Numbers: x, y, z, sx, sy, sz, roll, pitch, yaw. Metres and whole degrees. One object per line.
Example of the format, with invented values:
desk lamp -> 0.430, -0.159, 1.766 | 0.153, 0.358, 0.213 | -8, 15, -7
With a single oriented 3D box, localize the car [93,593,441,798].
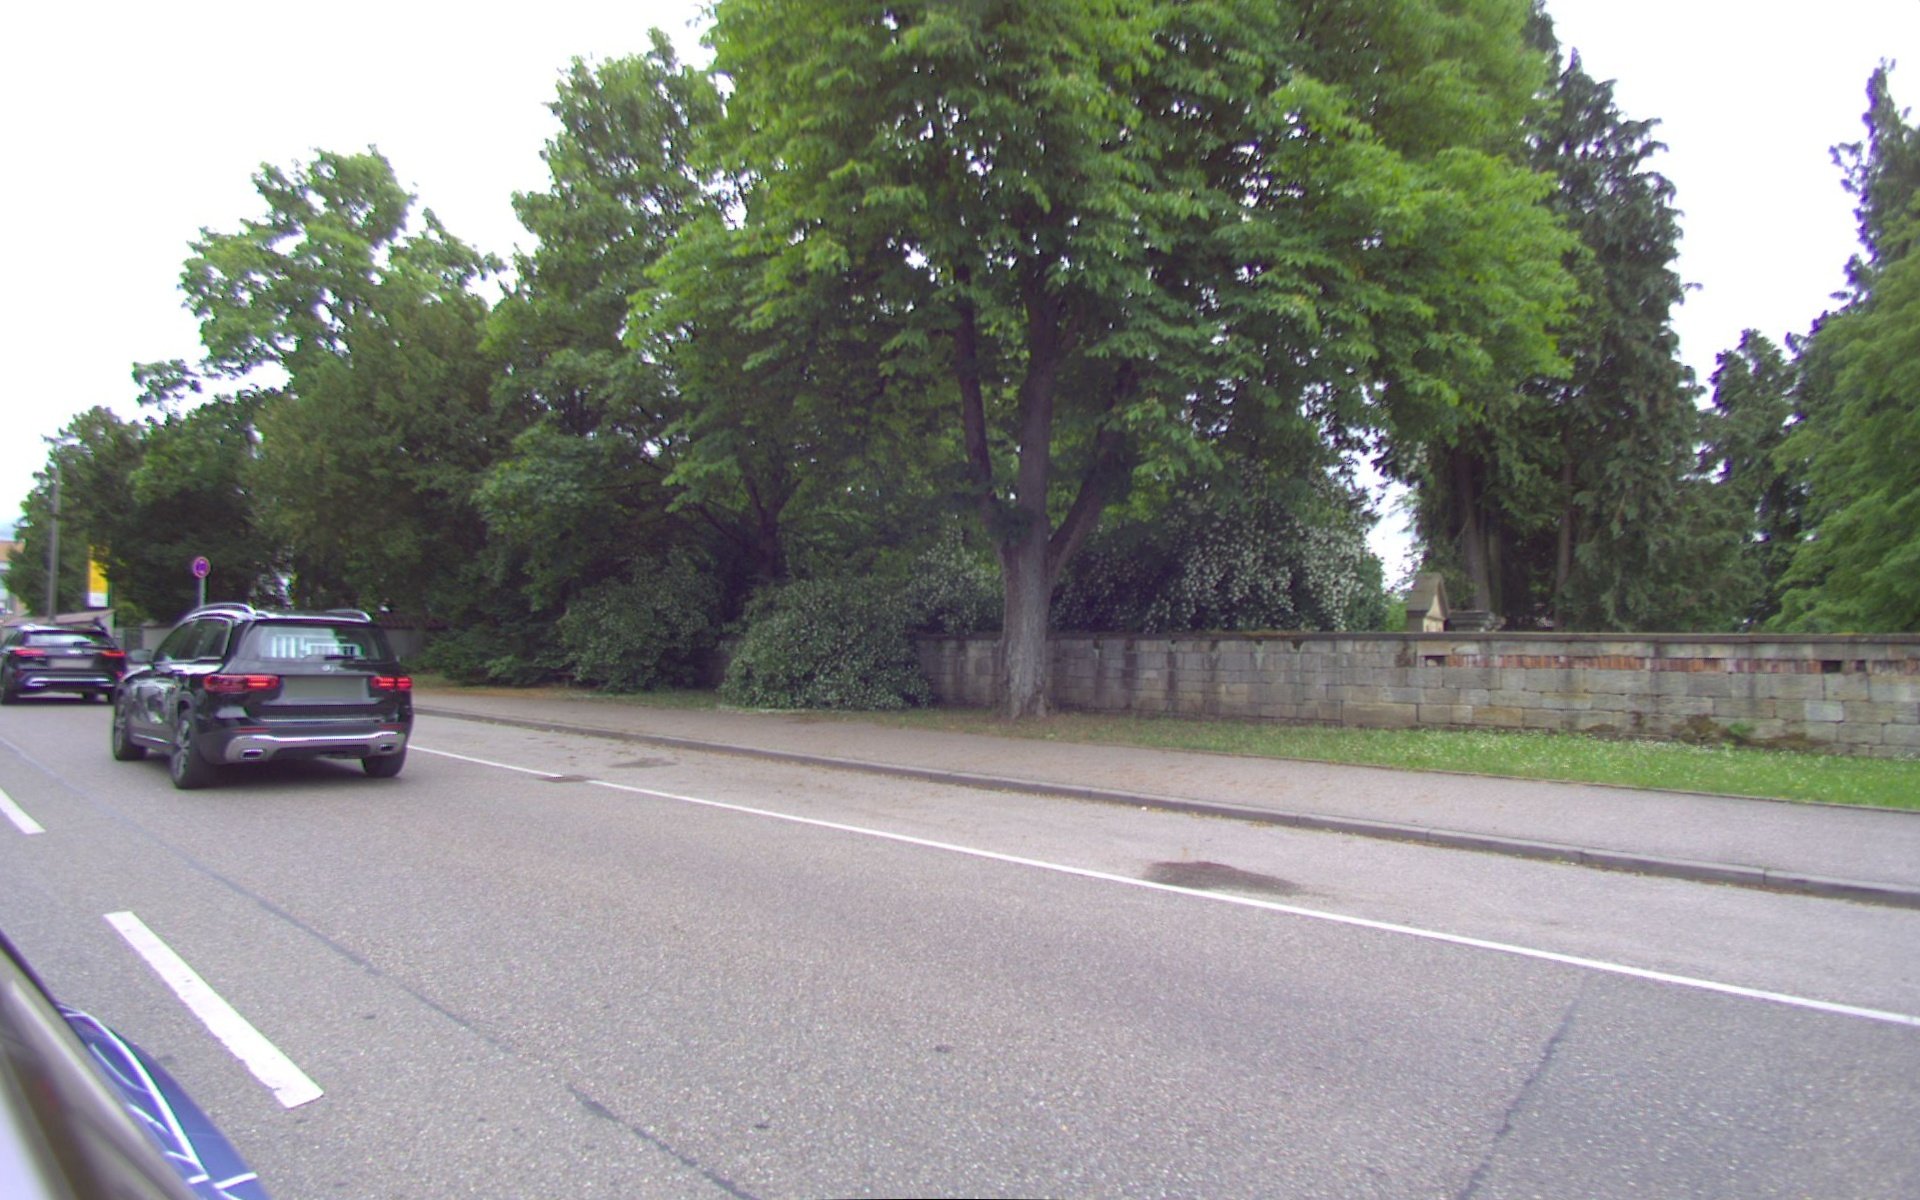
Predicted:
car -> -7.146, 0.861, 10.285 | 4.125, 1.657, 1.860 | -1, -4, 41

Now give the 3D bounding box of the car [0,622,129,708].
car -> -17.632, 1.216, 19.608 | 3.998, 1.495, 1.683 | -1, -4, 41

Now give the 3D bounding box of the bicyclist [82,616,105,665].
bicyclist -> -30.304, 1.404, 35.399 | 0.588, 1.697, 0.482 | -1, 1, 41
